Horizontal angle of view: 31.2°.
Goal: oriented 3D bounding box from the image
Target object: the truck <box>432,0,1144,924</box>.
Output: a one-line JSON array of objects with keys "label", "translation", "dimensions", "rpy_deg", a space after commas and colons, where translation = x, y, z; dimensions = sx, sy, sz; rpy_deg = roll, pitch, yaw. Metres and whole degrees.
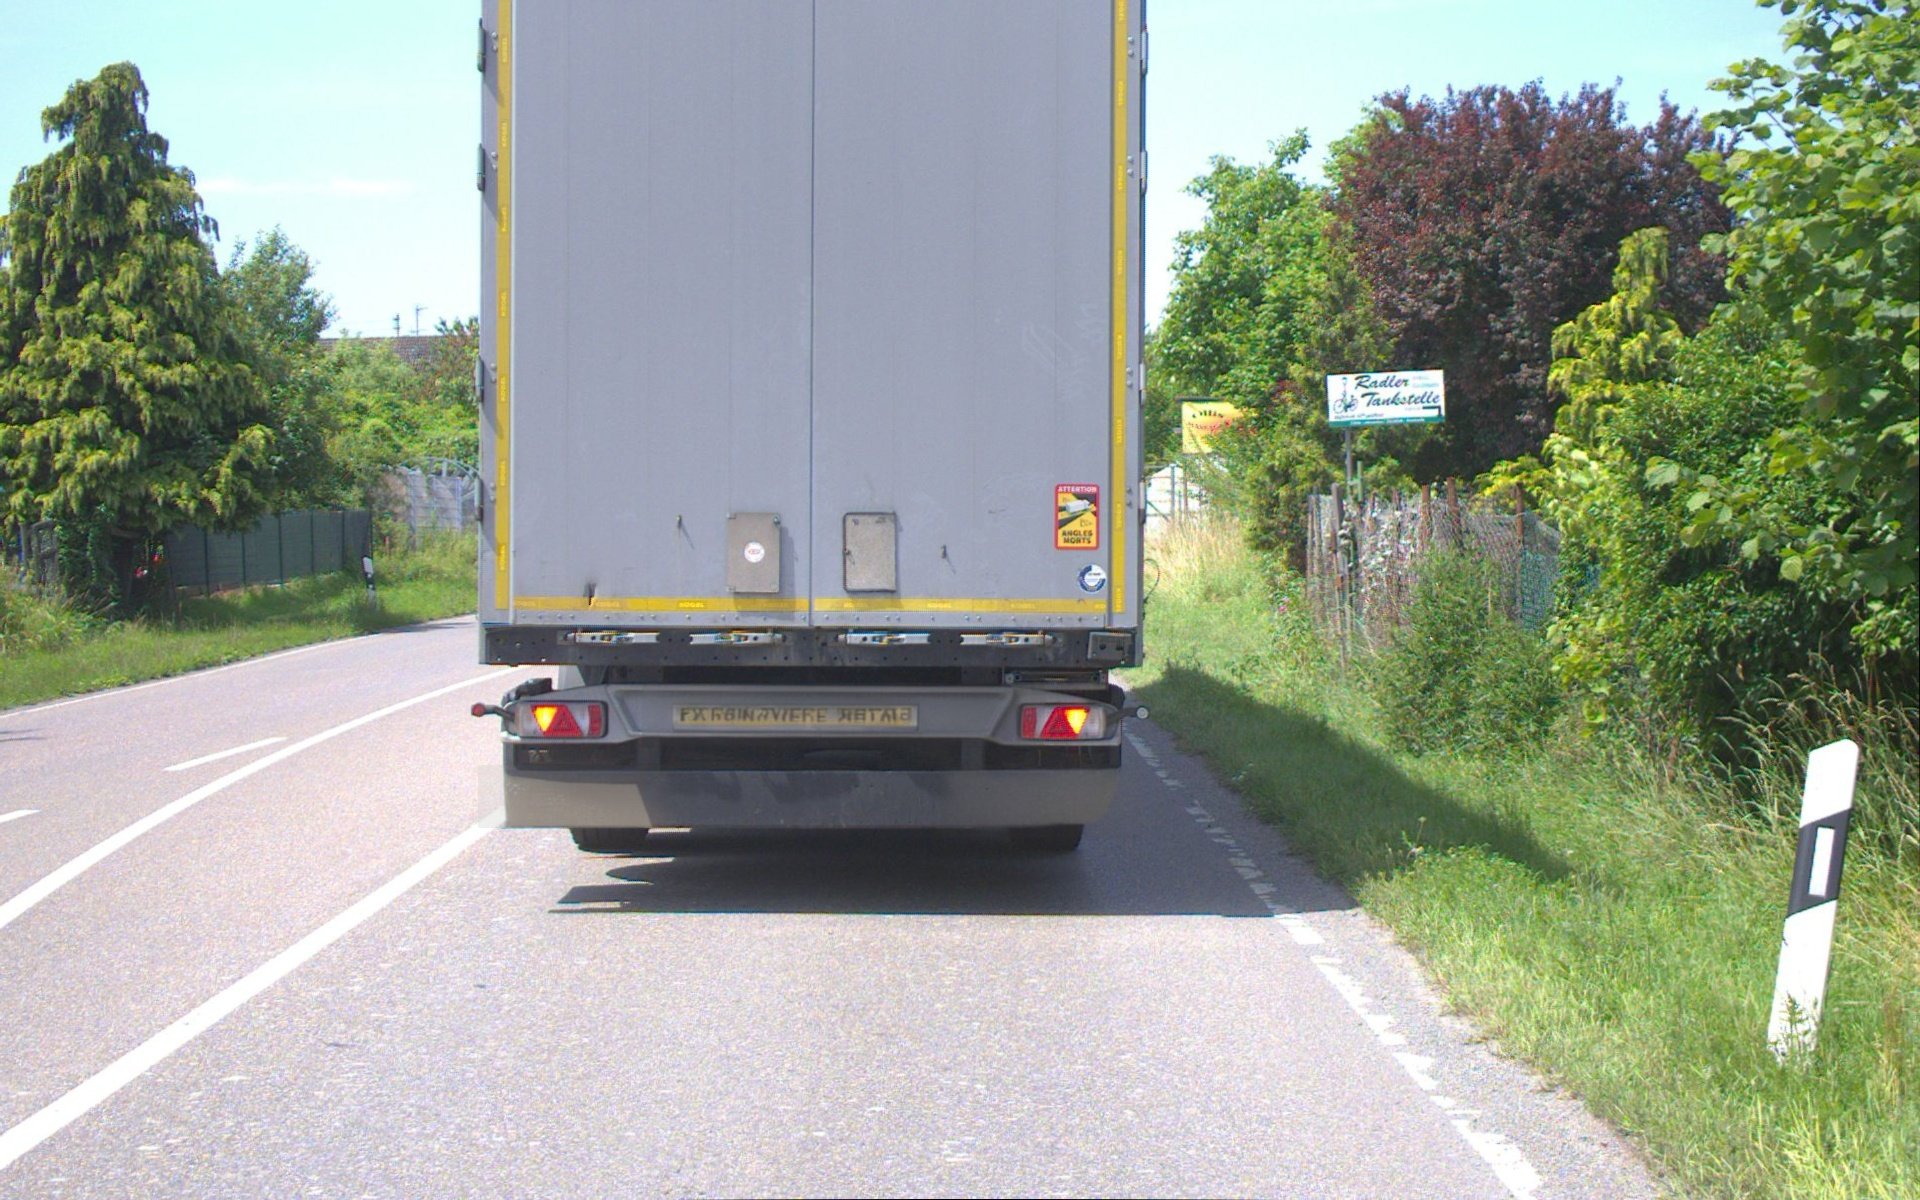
[{"label": "truck", "translation": [-0.784, -0.855, 17.311], "dimensions": [2.647, 3.903, 8.826], "rpy_deg": [0, 2, -2]}]
